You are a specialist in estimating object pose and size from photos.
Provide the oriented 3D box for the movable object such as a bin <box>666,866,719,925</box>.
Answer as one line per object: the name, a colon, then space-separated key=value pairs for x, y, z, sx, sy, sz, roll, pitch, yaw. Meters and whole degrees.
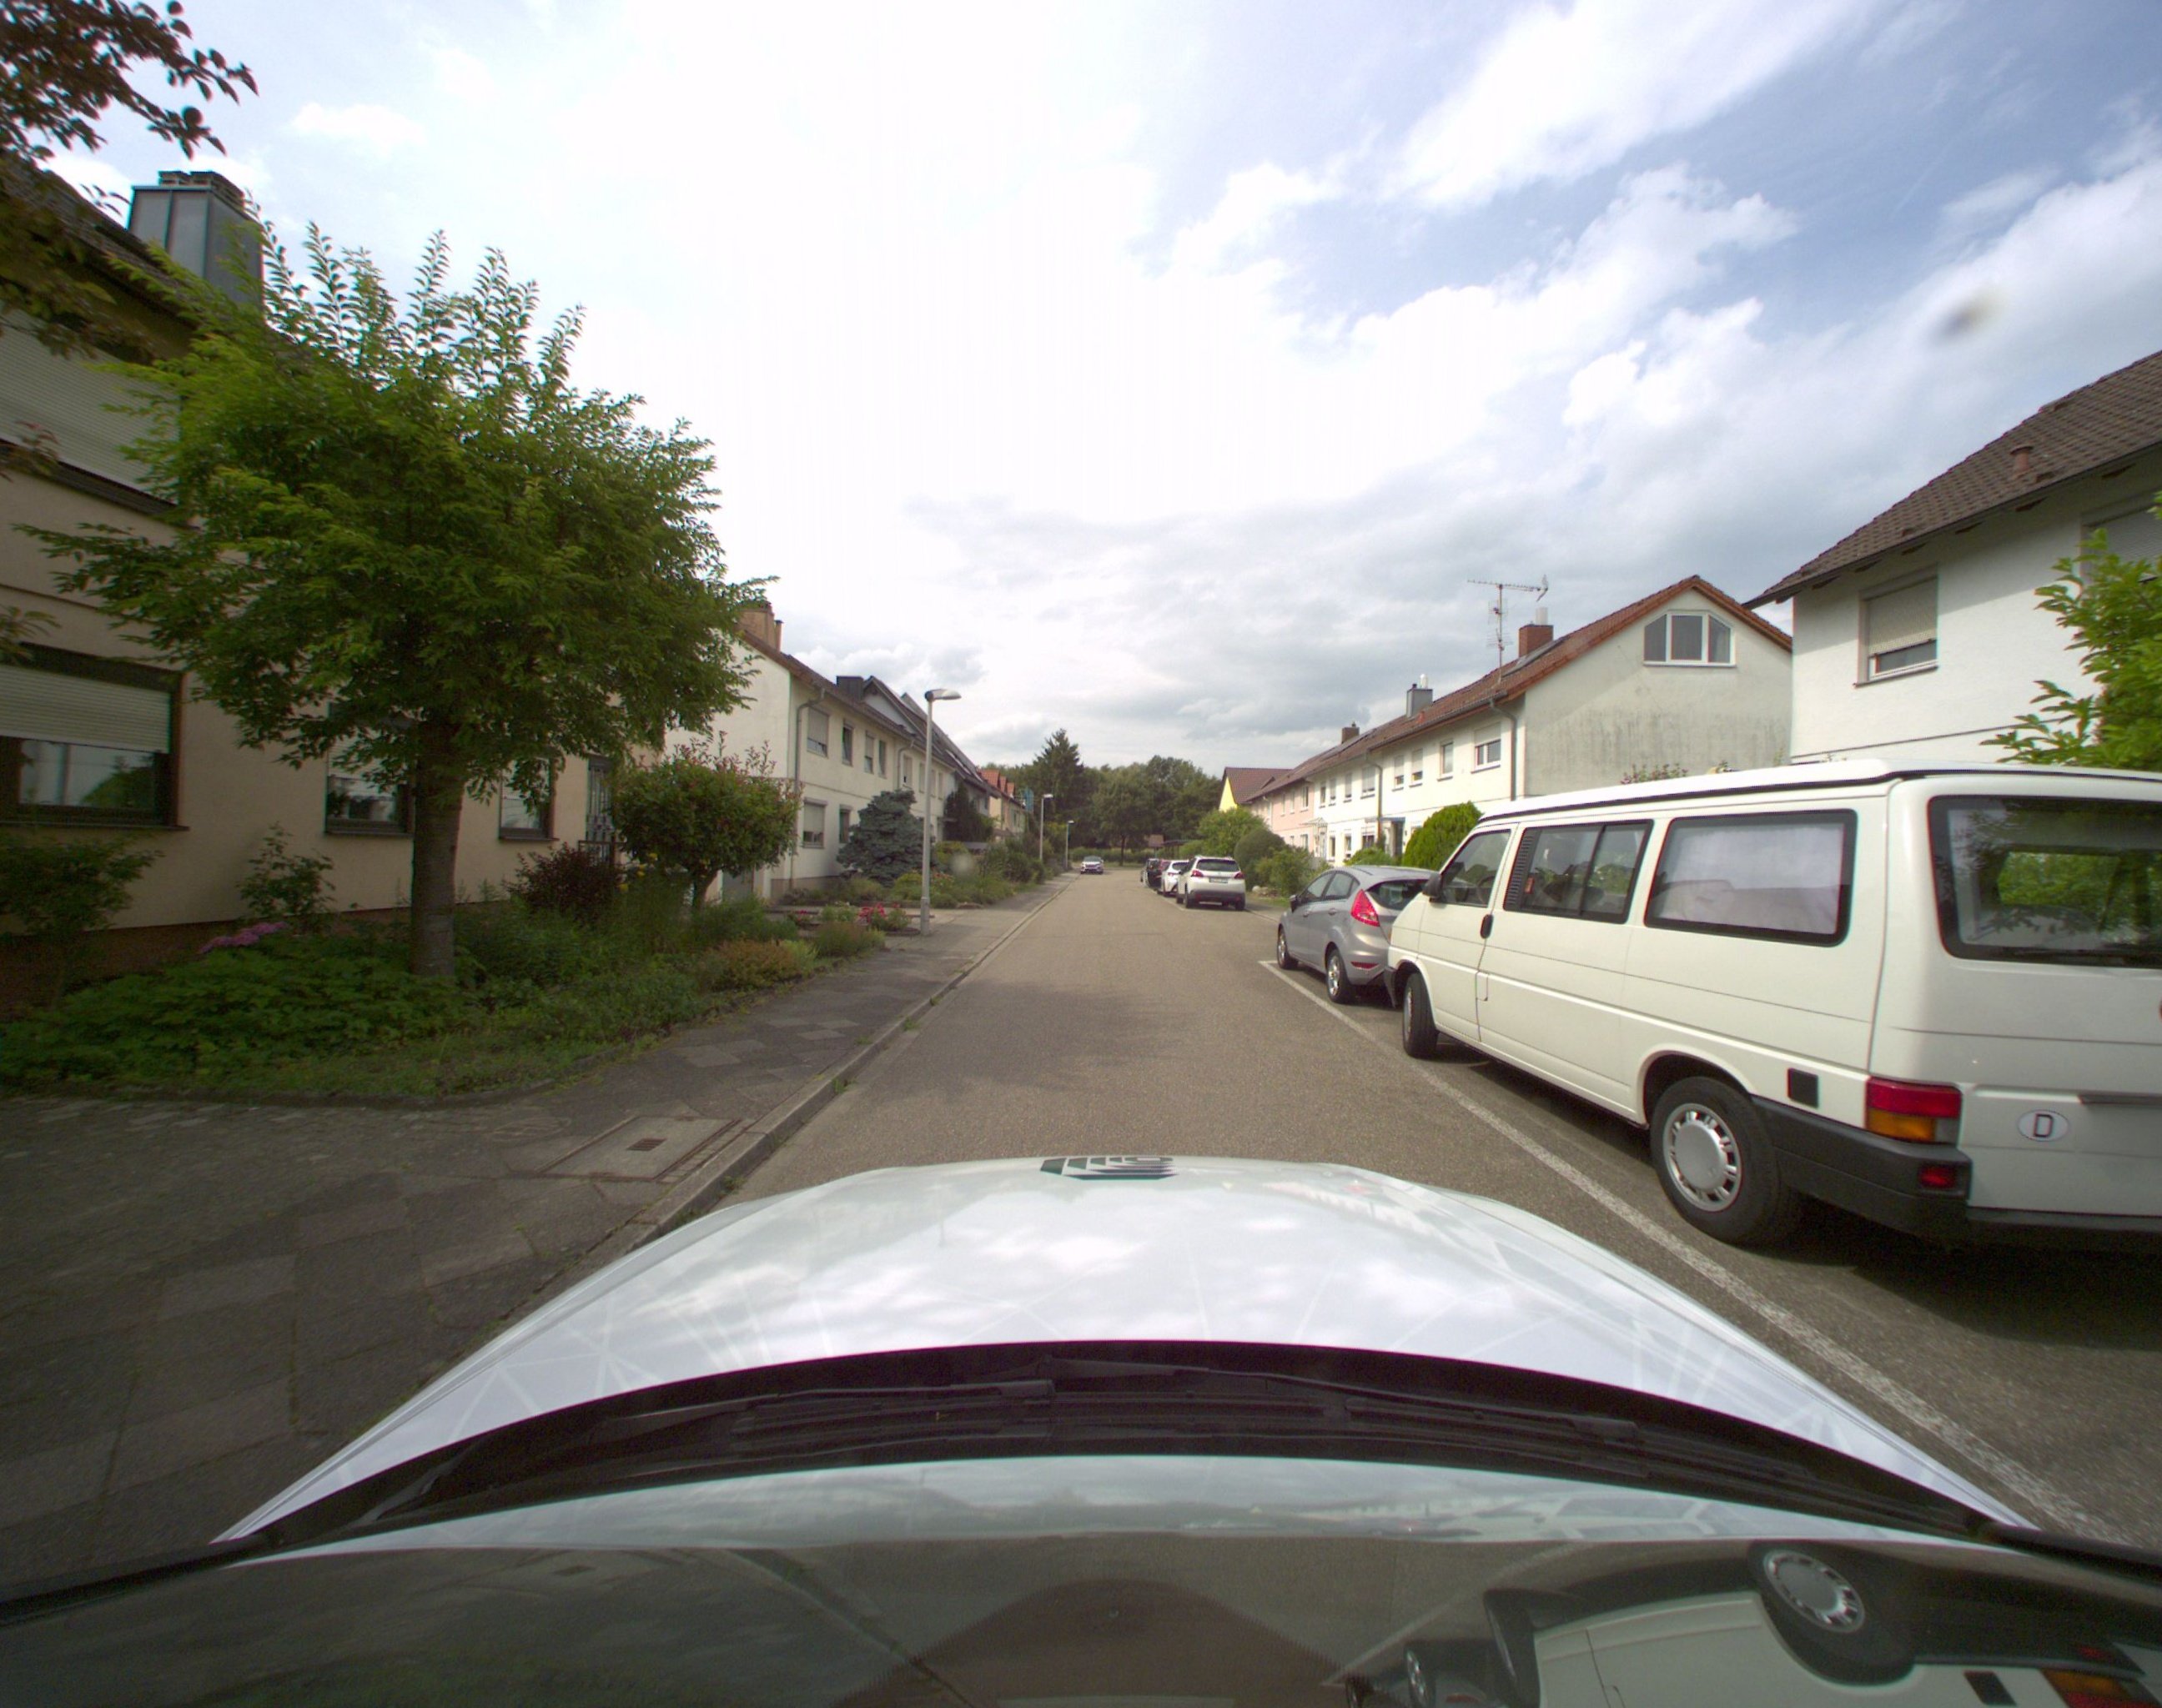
movable object such as a bin: x=-6.781 y=0.712 z=14.248 sx=0.650 sy=1.003 sz=0.542 roll=0 pitch=0 yaw=1

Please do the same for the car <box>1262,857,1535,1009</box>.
car: x=3.577 y=0.781 z=10.066 sx=1.893 sy=1.459 sz=4.131 roll=1 pitch=0 yaw=2

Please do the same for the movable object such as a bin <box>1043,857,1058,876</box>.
movable object such as a bin: x=-2.141 y=0.851 z=57.501 sx=0.946 sy=1.312 sz=1.001 roll=0 pitch=0 yaw=0

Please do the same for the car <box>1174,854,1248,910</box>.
car: x=3.876 y=0.793 z=24.899 sx=1.707 sy=1.543 sz=3.975 roll=2 pitch=0 yaw=2

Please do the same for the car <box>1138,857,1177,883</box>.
car: x=4.533 y=0.895 z=48.514 sx=1.859 sy=1.417 sz=4.251 roll=1 pitch=0 yaw=-1

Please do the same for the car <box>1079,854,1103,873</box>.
car: x=0.900 y=0.807 z=69.490 sx=1.926 sy=1.556 sz=4.636 roll=1 pitch=0 yaw=2

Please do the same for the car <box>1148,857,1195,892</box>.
car: x=4.166 y=0.900 z=38.184 sx=1.767 sy=1.436 sz=4.828 roll=3 pitch=0 yaw=2

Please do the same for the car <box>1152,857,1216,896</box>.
car: x=3.979 y=0.839 z=32.169 sx=1.833 sy=1.413 sz=4.634 roll=1 pitch=0 yaw=-1

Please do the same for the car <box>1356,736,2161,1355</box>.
car: x=3.506 y=0.609 z=4.962 sx=2.014 sy=1.947 sz=4.746 roll=1 pitch=0 yaw=-1

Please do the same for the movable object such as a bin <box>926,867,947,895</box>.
movable object such as a bin: x=-5.388 y=1.011 z=30.445 sx=0.673 sy=1.007 sz=0.598 roll=0 pitch=0 yaw=1
